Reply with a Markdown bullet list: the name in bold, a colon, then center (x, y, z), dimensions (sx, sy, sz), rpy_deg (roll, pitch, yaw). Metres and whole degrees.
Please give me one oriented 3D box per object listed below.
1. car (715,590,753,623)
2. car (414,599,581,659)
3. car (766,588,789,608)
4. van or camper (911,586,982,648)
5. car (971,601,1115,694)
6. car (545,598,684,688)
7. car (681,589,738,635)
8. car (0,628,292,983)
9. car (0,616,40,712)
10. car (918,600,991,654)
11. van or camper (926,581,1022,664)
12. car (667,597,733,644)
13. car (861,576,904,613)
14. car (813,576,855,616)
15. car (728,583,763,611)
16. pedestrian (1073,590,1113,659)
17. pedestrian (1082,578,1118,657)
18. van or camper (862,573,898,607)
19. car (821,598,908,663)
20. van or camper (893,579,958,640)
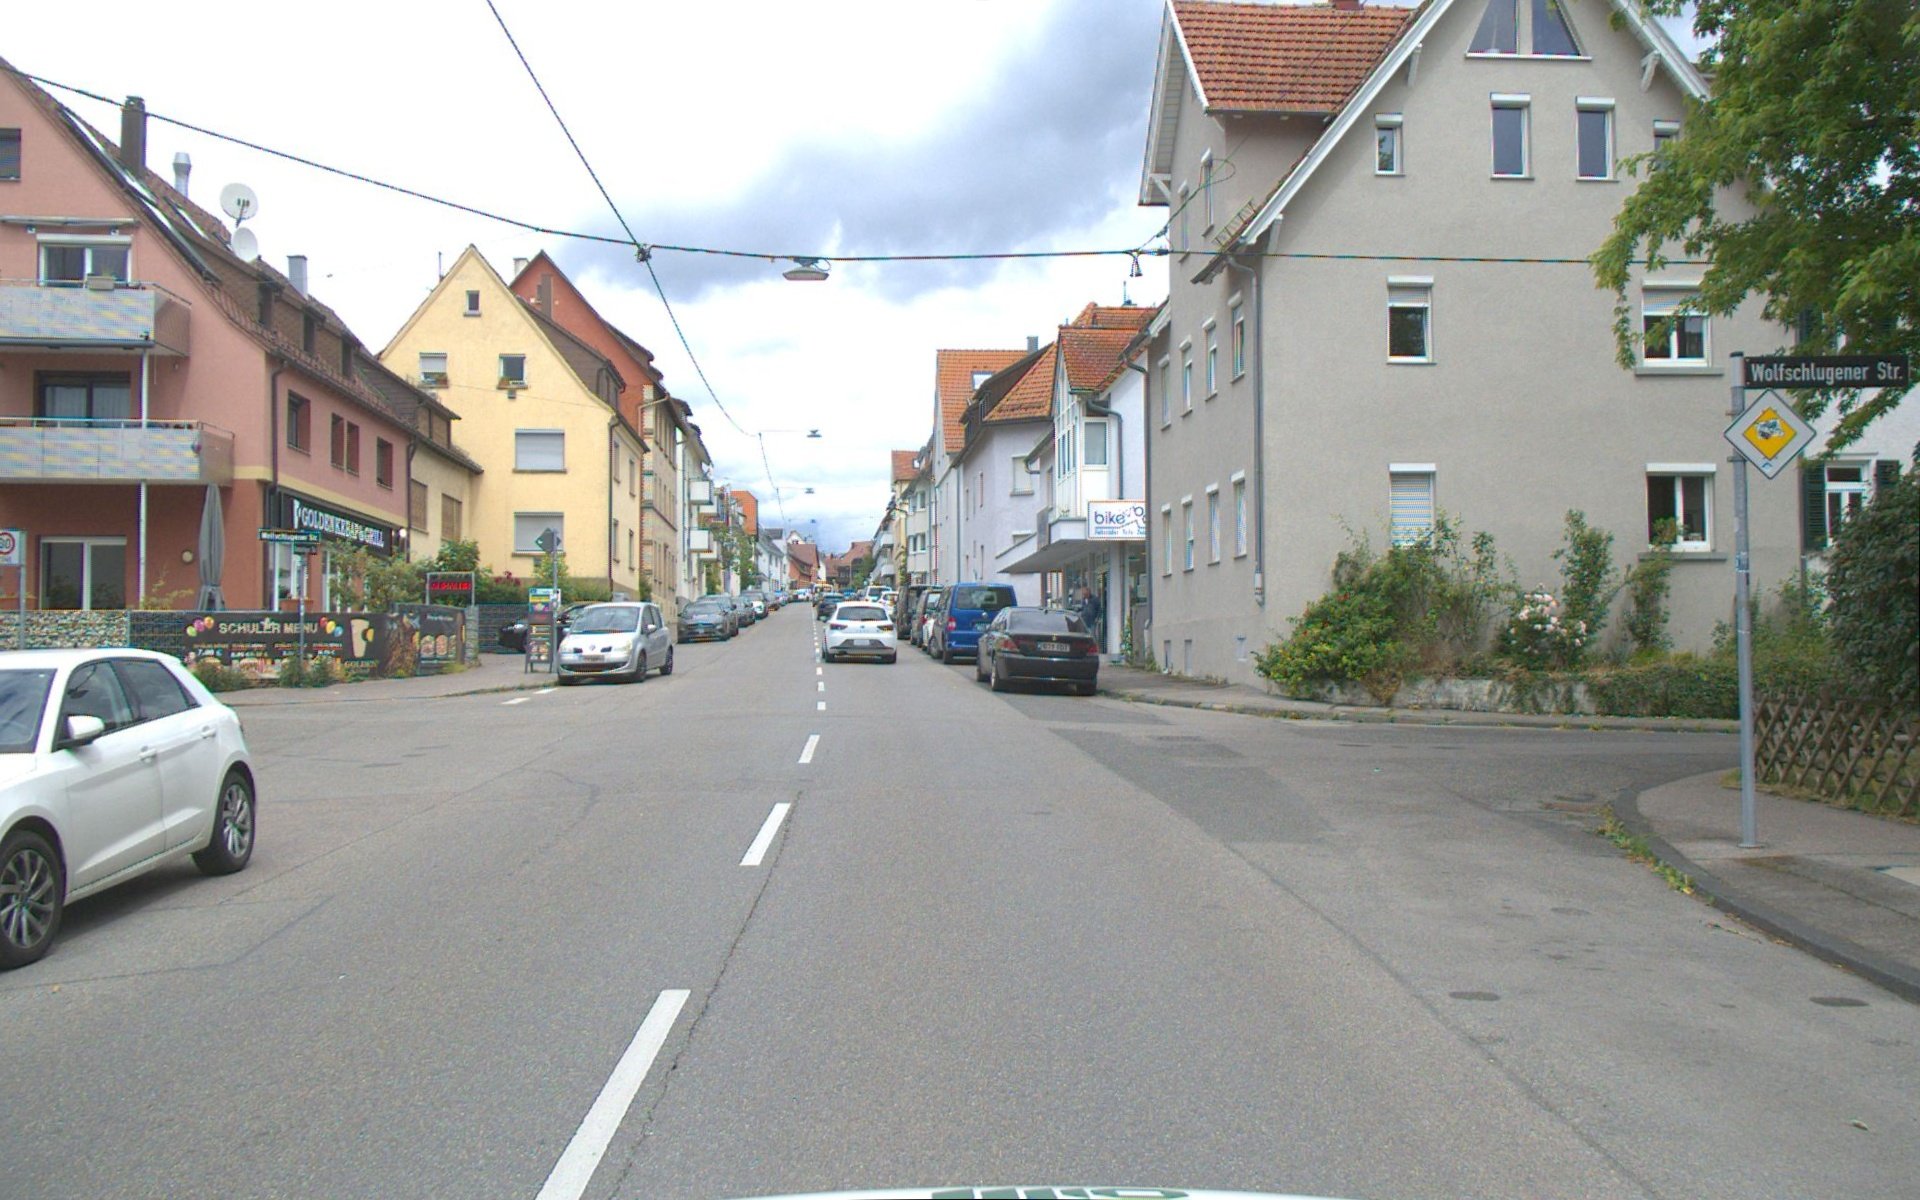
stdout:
- **car**: center (-11.172, 0.293, 81.992), dimensions (1.610, 1.499, 4.174), rpy_deg (-3, 1, -5)
- **car**: center (-12.870, 0.827, 46.237), dimensions (4.146, 1.498, 1.998), rpy_deg (-1, -3, -5)
- **car**: center (-16.035, -0.209, 145.465), dimensions (1.955, 1.680, 4.174), rpy_deg (0, 0, -5)
- **van or camper**: center (-0.476, 0.505, 53.755), dimensions (1.835, 1.860, 4.674), rpy_deg (2, 0, -6)
- **car**: center (1.441, 0.815, 30.653), dimensions (1.955, 1.544, 4.886), rpy_deg (1, 0, -5)
- **car**: center (-6.977, 0.829, 33.774), dimensions (1.796, 1.605, 4.032), rpy_deg (-3, 0, 2)
- **car**: center (-9.965, 0.445, 66.181), dimensions (1.955, 1.679, 4.548), rpy_deg (-3, 1, -6)
- **car**: center (-5.086, 0.971, 8.623), dimensions (1.692, 1.483, 3.896), rpy_deg (-4, 0, -3)
- **car**: center (-17.147, 1.035, 26.223), dimensions (4.311, 1.498, 2.001), rpy_deg (-1, -2, 16)
- **car**: center (-0.203, 0.754, 48.411), dimensions (1.681, 1.461, 4.634), rpy_deg (1, 0, -6)
- **van or camper**: center (0.288, 0.525, 41.860), dimensions (1.889, 1.959, 4.825), rpy_deg (1, 0, -6)
- **car**: center (-9.443, 0.715, 60.294), dimensions (1.954, 1.498, 4.240), rpy_deg (-3, 1, -4)
- **car**: center (-3.930, -0.275, 83.391), dimensions (1.903, 1.722, 3.995), rpy_deg (2, 0, -6)
- **car**: center (-6.705, -0.194, 87.741), dimensions (2.111, 2.049, 3.995), rpy_deg (1, 0, -6)
- **car**: center (-13.241, -0.215, 102.208), dimensions (1.955, 1.680, 3.996), rpy_deg (0, 0, -5)
- **pedestrian**: center (3.428, 0.629, 42.561), dimensions (0.854, 1.755, 0.618), rpy_deg (0, 0, 30)
- **pedestrian**: center (3.686, 0.457, 43.525), dimensions (0.745, 2.049, 0.618), rpy_deg (0, 0, 30)
- **van or camper**: center (-5.130, -0.642, 105.725), dimensions (1.904, 2.090, 4.556), rpy_deg (1, 0, -7)
- **car**: center (-2.397, 0.710, 40.596), dimensions (1.903, 1.464, 3.994), rpy_deg (1, 0, -7)
- **van or camper**: center (-1.333, 0.319, 61.483), dimensions (1.955, 2.102, 5.938), rpy_deg (2, 0, -5)
